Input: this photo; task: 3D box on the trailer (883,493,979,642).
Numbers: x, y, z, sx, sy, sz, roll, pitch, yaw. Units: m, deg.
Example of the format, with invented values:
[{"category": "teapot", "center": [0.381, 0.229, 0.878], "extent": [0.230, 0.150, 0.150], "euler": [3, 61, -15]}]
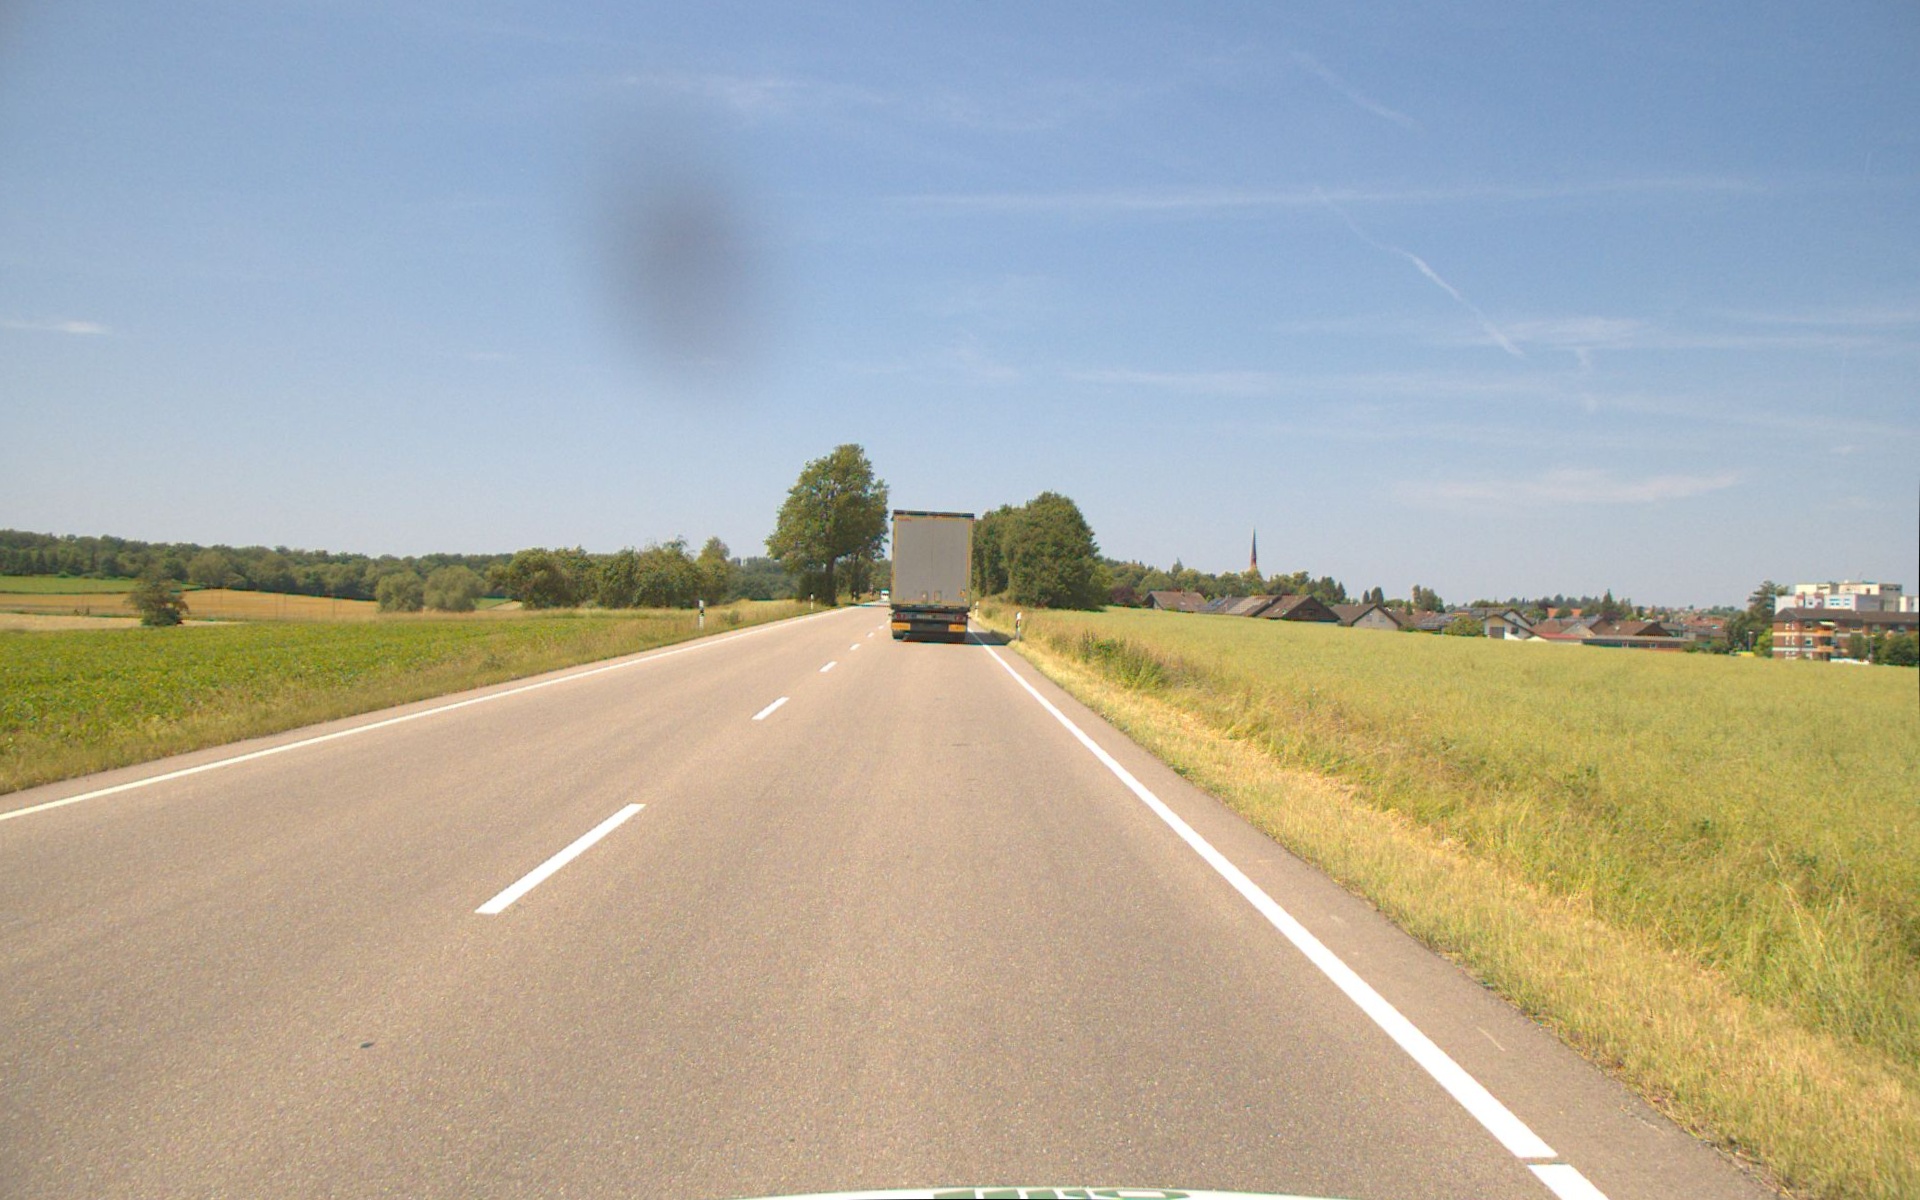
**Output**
[{"category": "trailer", "center": [-1.080, -1.037, 57.485], "extent": [2.809, 4.477, 13.488], "euler": [2, 0, -2]}]
